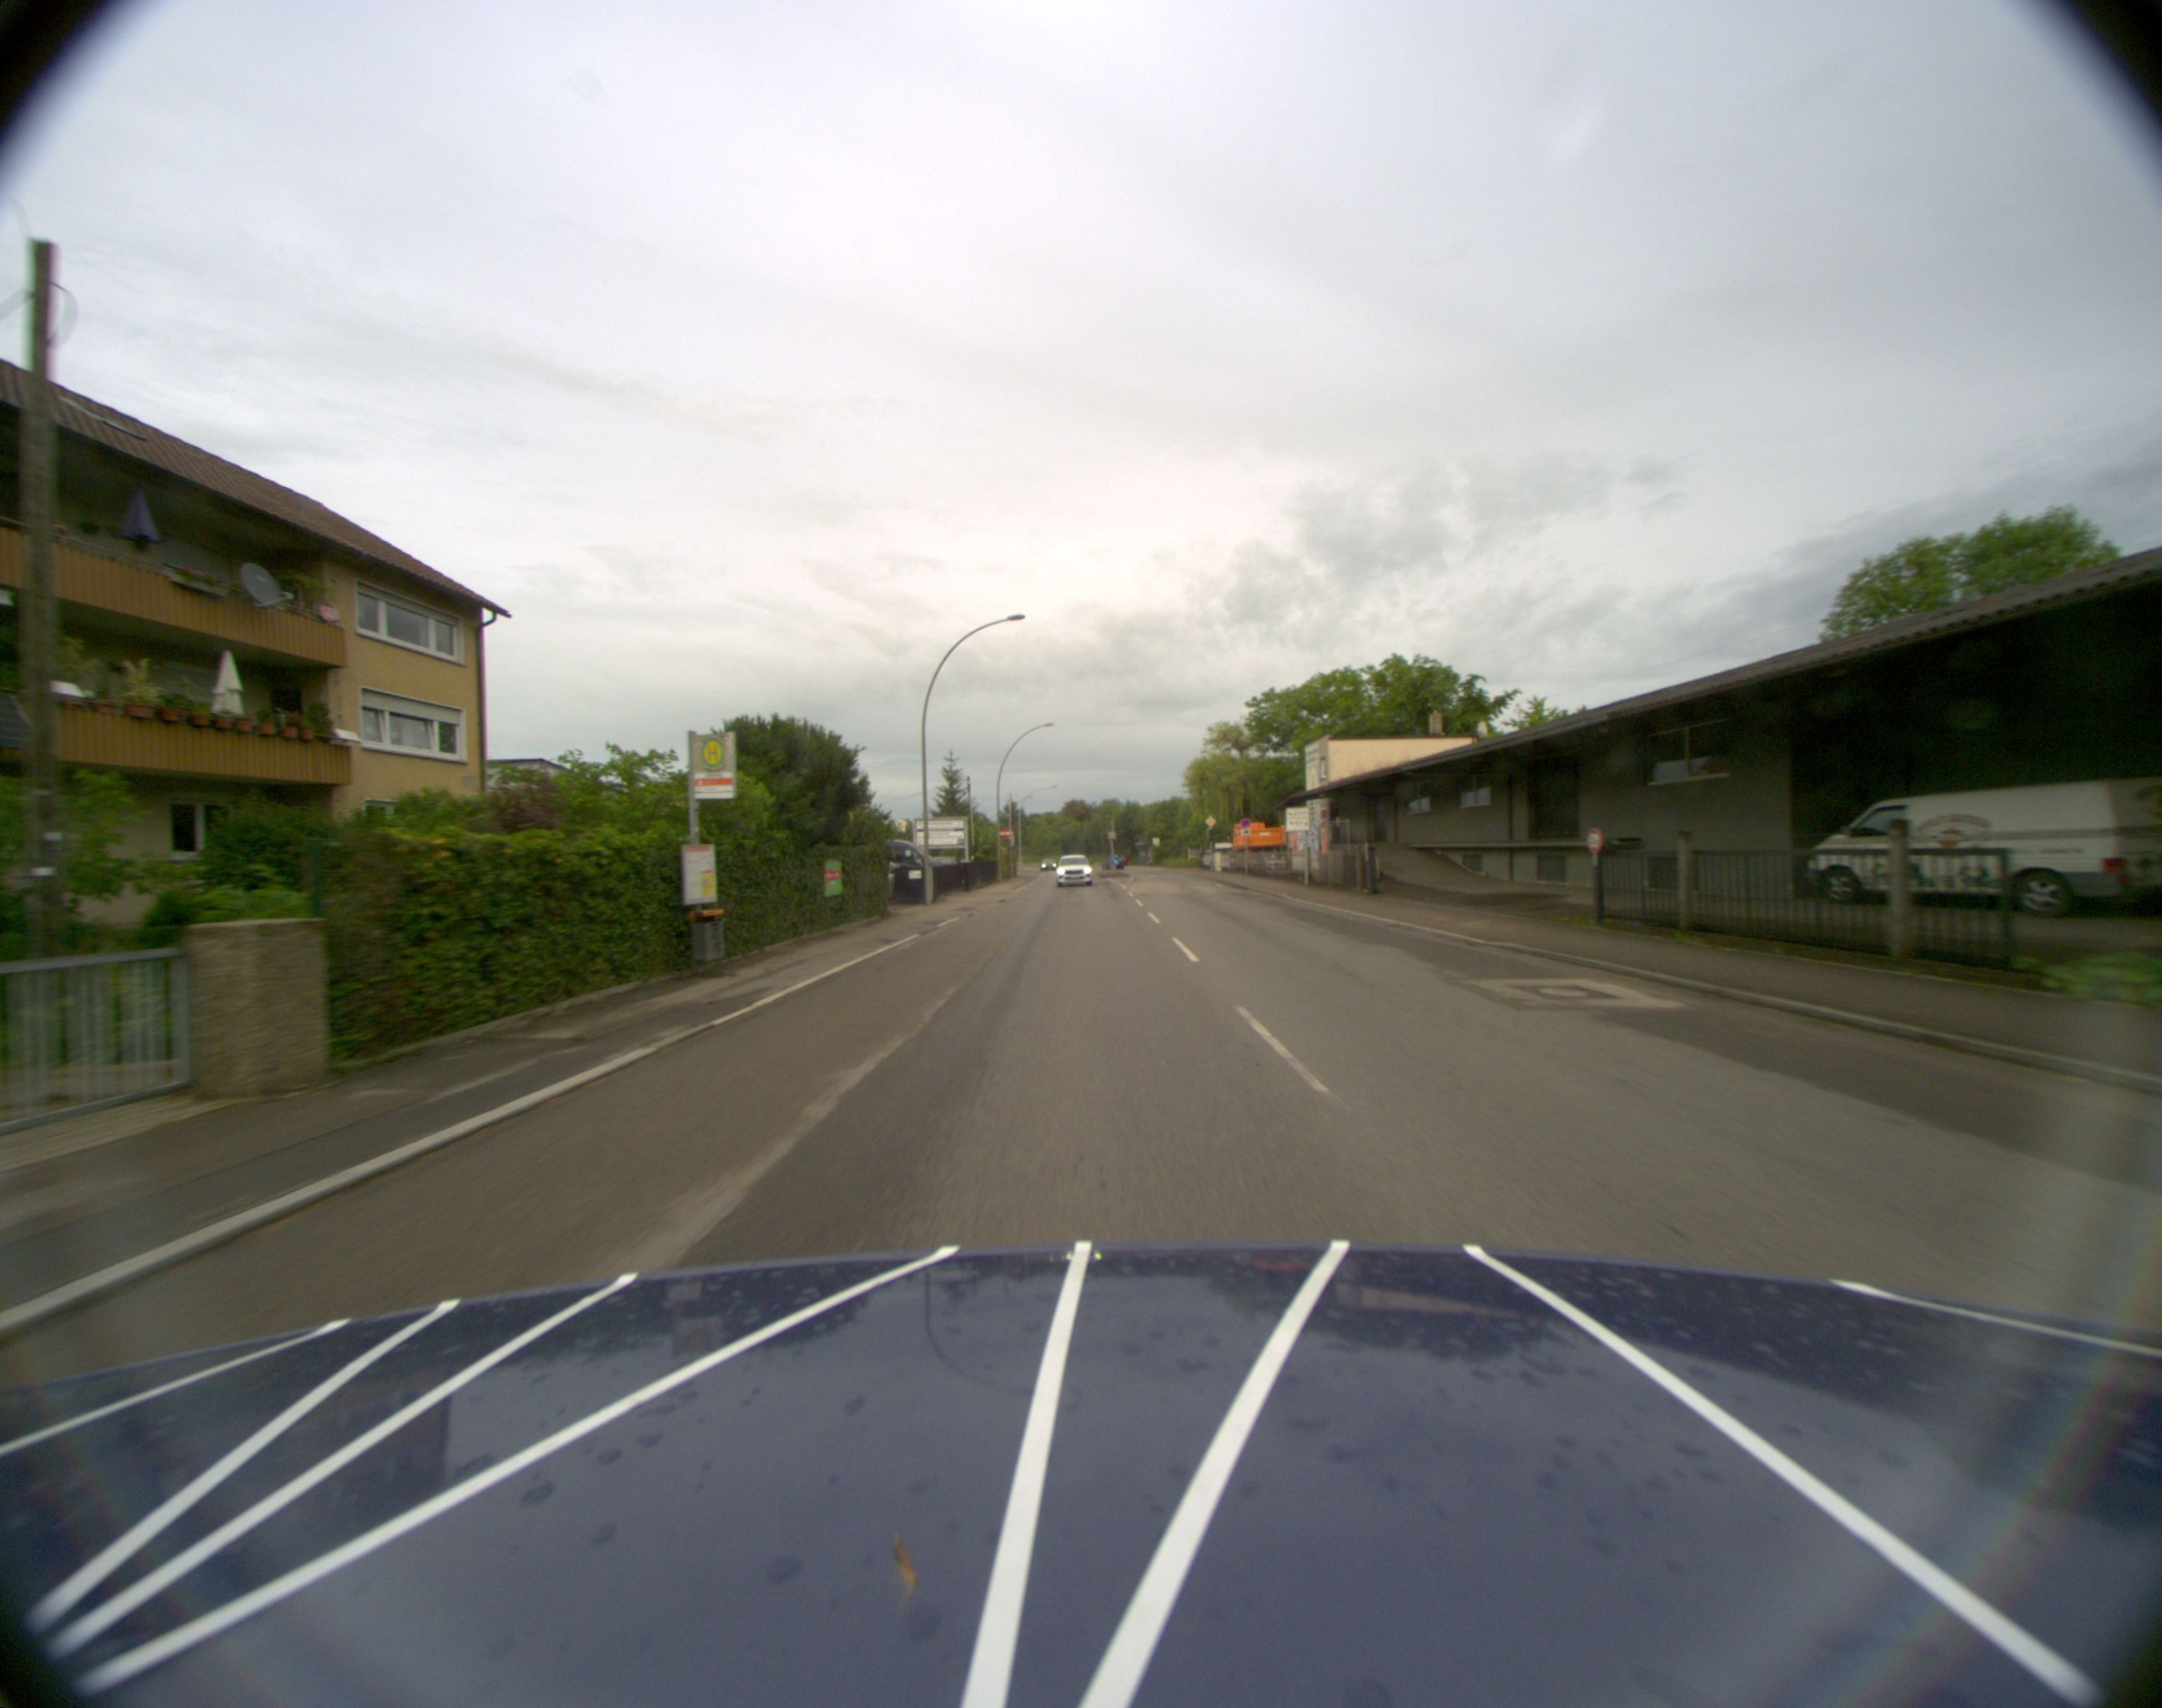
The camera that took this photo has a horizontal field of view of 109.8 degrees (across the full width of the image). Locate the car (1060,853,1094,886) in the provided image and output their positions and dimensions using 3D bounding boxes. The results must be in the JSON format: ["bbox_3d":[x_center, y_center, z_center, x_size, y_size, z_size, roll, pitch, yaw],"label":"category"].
[{"bbox_3d":[-0.216,0.825,41.832,1.692,1.651,3.999,-3,0,-1],"label":"car"}]

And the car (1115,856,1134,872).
[{"bbox_3d":[4.750,1.088,83.457,1.700,1.547,3.717,-3,0,-1],"label":"car"}]

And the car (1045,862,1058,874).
[{"bbox_3d":[-3.702,1.707,95.301,1.564,1.332,3.129,-3,0,-1],"label":"car"}]

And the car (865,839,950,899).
[{"bbox_3d":[-8.163,0.696,36.069,3.456,2.596,1.949,-3,0,0],"label":"car"}]

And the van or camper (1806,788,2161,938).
[{"bbox_3d":[14.532,0.081,12.081,1.926,1.924,4.374,-3,0,3],"label":"van or camper"}]

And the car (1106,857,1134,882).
[{"bbox_3d":[2.760,1.059,54.460,1.898,1.678,4.231,0,0,2],"label":"car"}]

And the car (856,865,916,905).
[{"bbox_3d":[-7.518,1.151,29.556,1.412,1.363,3.331,-3,0,0],"label":"car"}]
